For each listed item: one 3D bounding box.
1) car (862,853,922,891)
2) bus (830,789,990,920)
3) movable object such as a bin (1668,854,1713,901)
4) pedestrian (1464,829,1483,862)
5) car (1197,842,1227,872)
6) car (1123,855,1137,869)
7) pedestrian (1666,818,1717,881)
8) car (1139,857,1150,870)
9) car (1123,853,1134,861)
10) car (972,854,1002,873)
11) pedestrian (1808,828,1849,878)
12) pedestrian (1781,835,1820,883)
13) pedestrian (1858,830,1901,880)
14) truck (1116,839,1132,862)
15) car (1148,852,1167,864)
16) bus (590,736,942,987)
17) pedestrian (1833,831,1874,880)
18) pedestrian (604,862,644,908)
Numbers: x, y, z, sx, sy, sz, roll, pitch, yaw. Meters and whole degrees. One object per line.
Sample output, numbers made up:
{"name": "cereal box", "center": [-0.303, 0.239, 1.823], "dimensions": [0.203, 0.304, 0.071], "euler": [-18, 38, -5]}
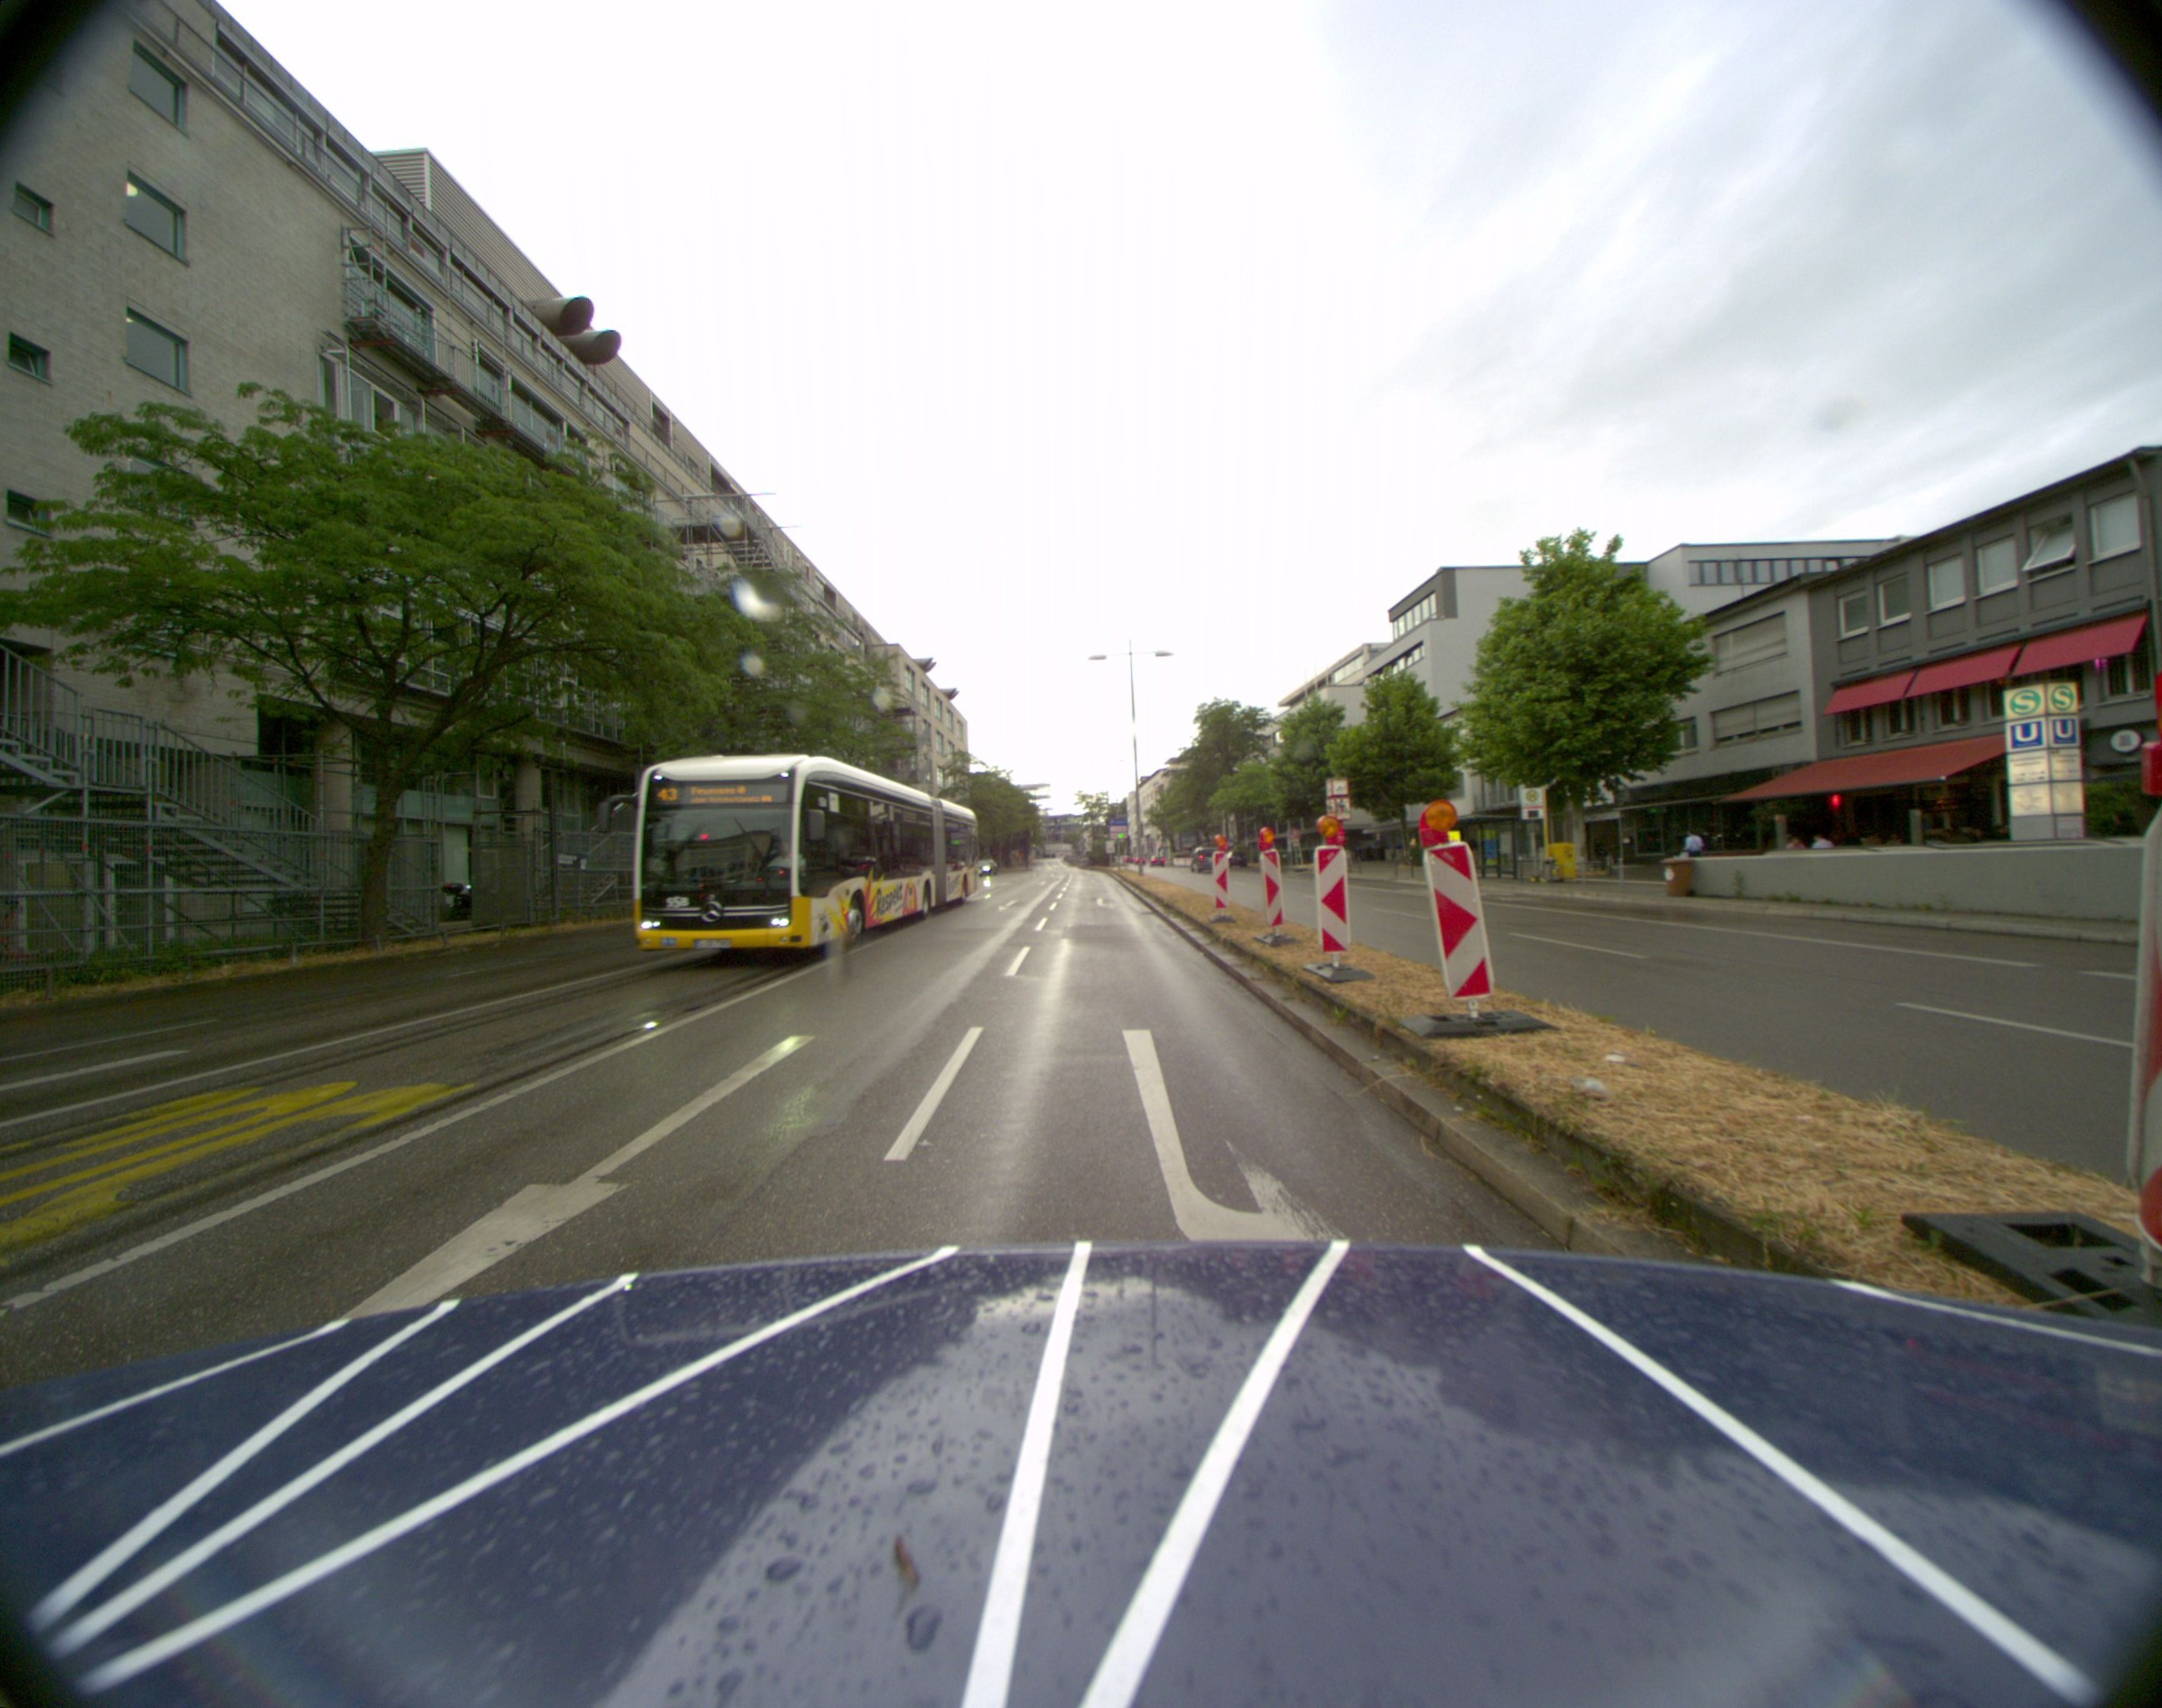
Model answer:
{"name": "car", "center": [-10.523, 0.979, 42.659], "dimensions": [2.213, 1.895, 4.329], "euler": [-2, 1, 0]}
{"name": "bus", "center": [-5.180, -0.045, 25.322], "dimensions": [2.890, 3.420, 9.709], "euler": [-2, 1, 1]}
{"name": "movable object such as a bin", "center": [14.565, 0.551, 18.171], "dimensions": [0.507, 1.094, 0.660], "euler": [-2, 1, -2]}
{"name": "pedestrian", "center": [24.068, -0.515, 46.588], "dimensions": [0.774, 2.002, 0.767], "euler": [-2, 1, 8]}
{"name": "car", "center": [9.837, 0.195, 57.367], "dimensions": [1.997, 1.917, 4.965], "euler": [-3, 3, 8]}
{"name": "car", "center": [7.865, 1.287, 122.305], "dimensions": [1.998, 2.002, 4.000], "euler": [-2, 1, 2]}
{"name": "pedestrian", "center": [20.233, -0.154, 25.205], "dimensions": [0.922, 2.002, 0.944], "euler": [-2, 1, 0]}
{"name": "car", "center": [11.186, 1.663, 134.105], "dimensions": [1.692, 1.420, 4.222], "euler": [-2, -12, 0]}
{"name": "car", "center": [9.532, 0.600, 151.520], "dimensions": [1.692, 1.545, 4.419], "euler": [-2, 1, -2]}
{"name": "car", "center": [-8.892, 0.893, 72.428], "dimensions": [2.147, 1.637, 4.816], "euler": [-2, 1, 1]}
{"name": "pedestrian", "center": [23.339, -0.025, 23.737], "dimensions": [0.669, 1.520, 0.611], "euler": [-2, 1, 3]}
{"name": "pedestrian", "center": [23.344, 0.147, 24.657], "dimensions": [0.669, 1.520, 0.611], "euler": [-2, 1, 3]}
{"name": "pedestrian", "center": [24.995, 0.031, 23.795], "dimensions": [0.669, 1.520, 0.611], "euler": [-2, 1, 3]}
{"name": "truck", "center": [7.105, -0.573, 127.117], "dimensions": [1.999, 3.557, 7.572], "euler": [-2, 0, -2]}
{"name": "car", "center": [10.162, 0.487, 100.633], "dimensions": [1.692, 1.501, 4.289], "euler": [-2, 0, -5]}
{"name": "bus", "center": [-5.327, 0.062, 15.587], "dimensions": [2.890, 3.430, 9.756], "euler": [-2, 1, 1]}
{"name": "pedestrian", "center": [24.961, 0.050, 24.553], "dimensions": [0.669, 1.520, 0.611], "euler": [-2, 1, 4]}
{"name": "pedestrian", "center": [-18.333, 1.236, 30.493], "dimensions": [1.010, 1.789, 0.845], "euler": [-2, 1, -4]}
